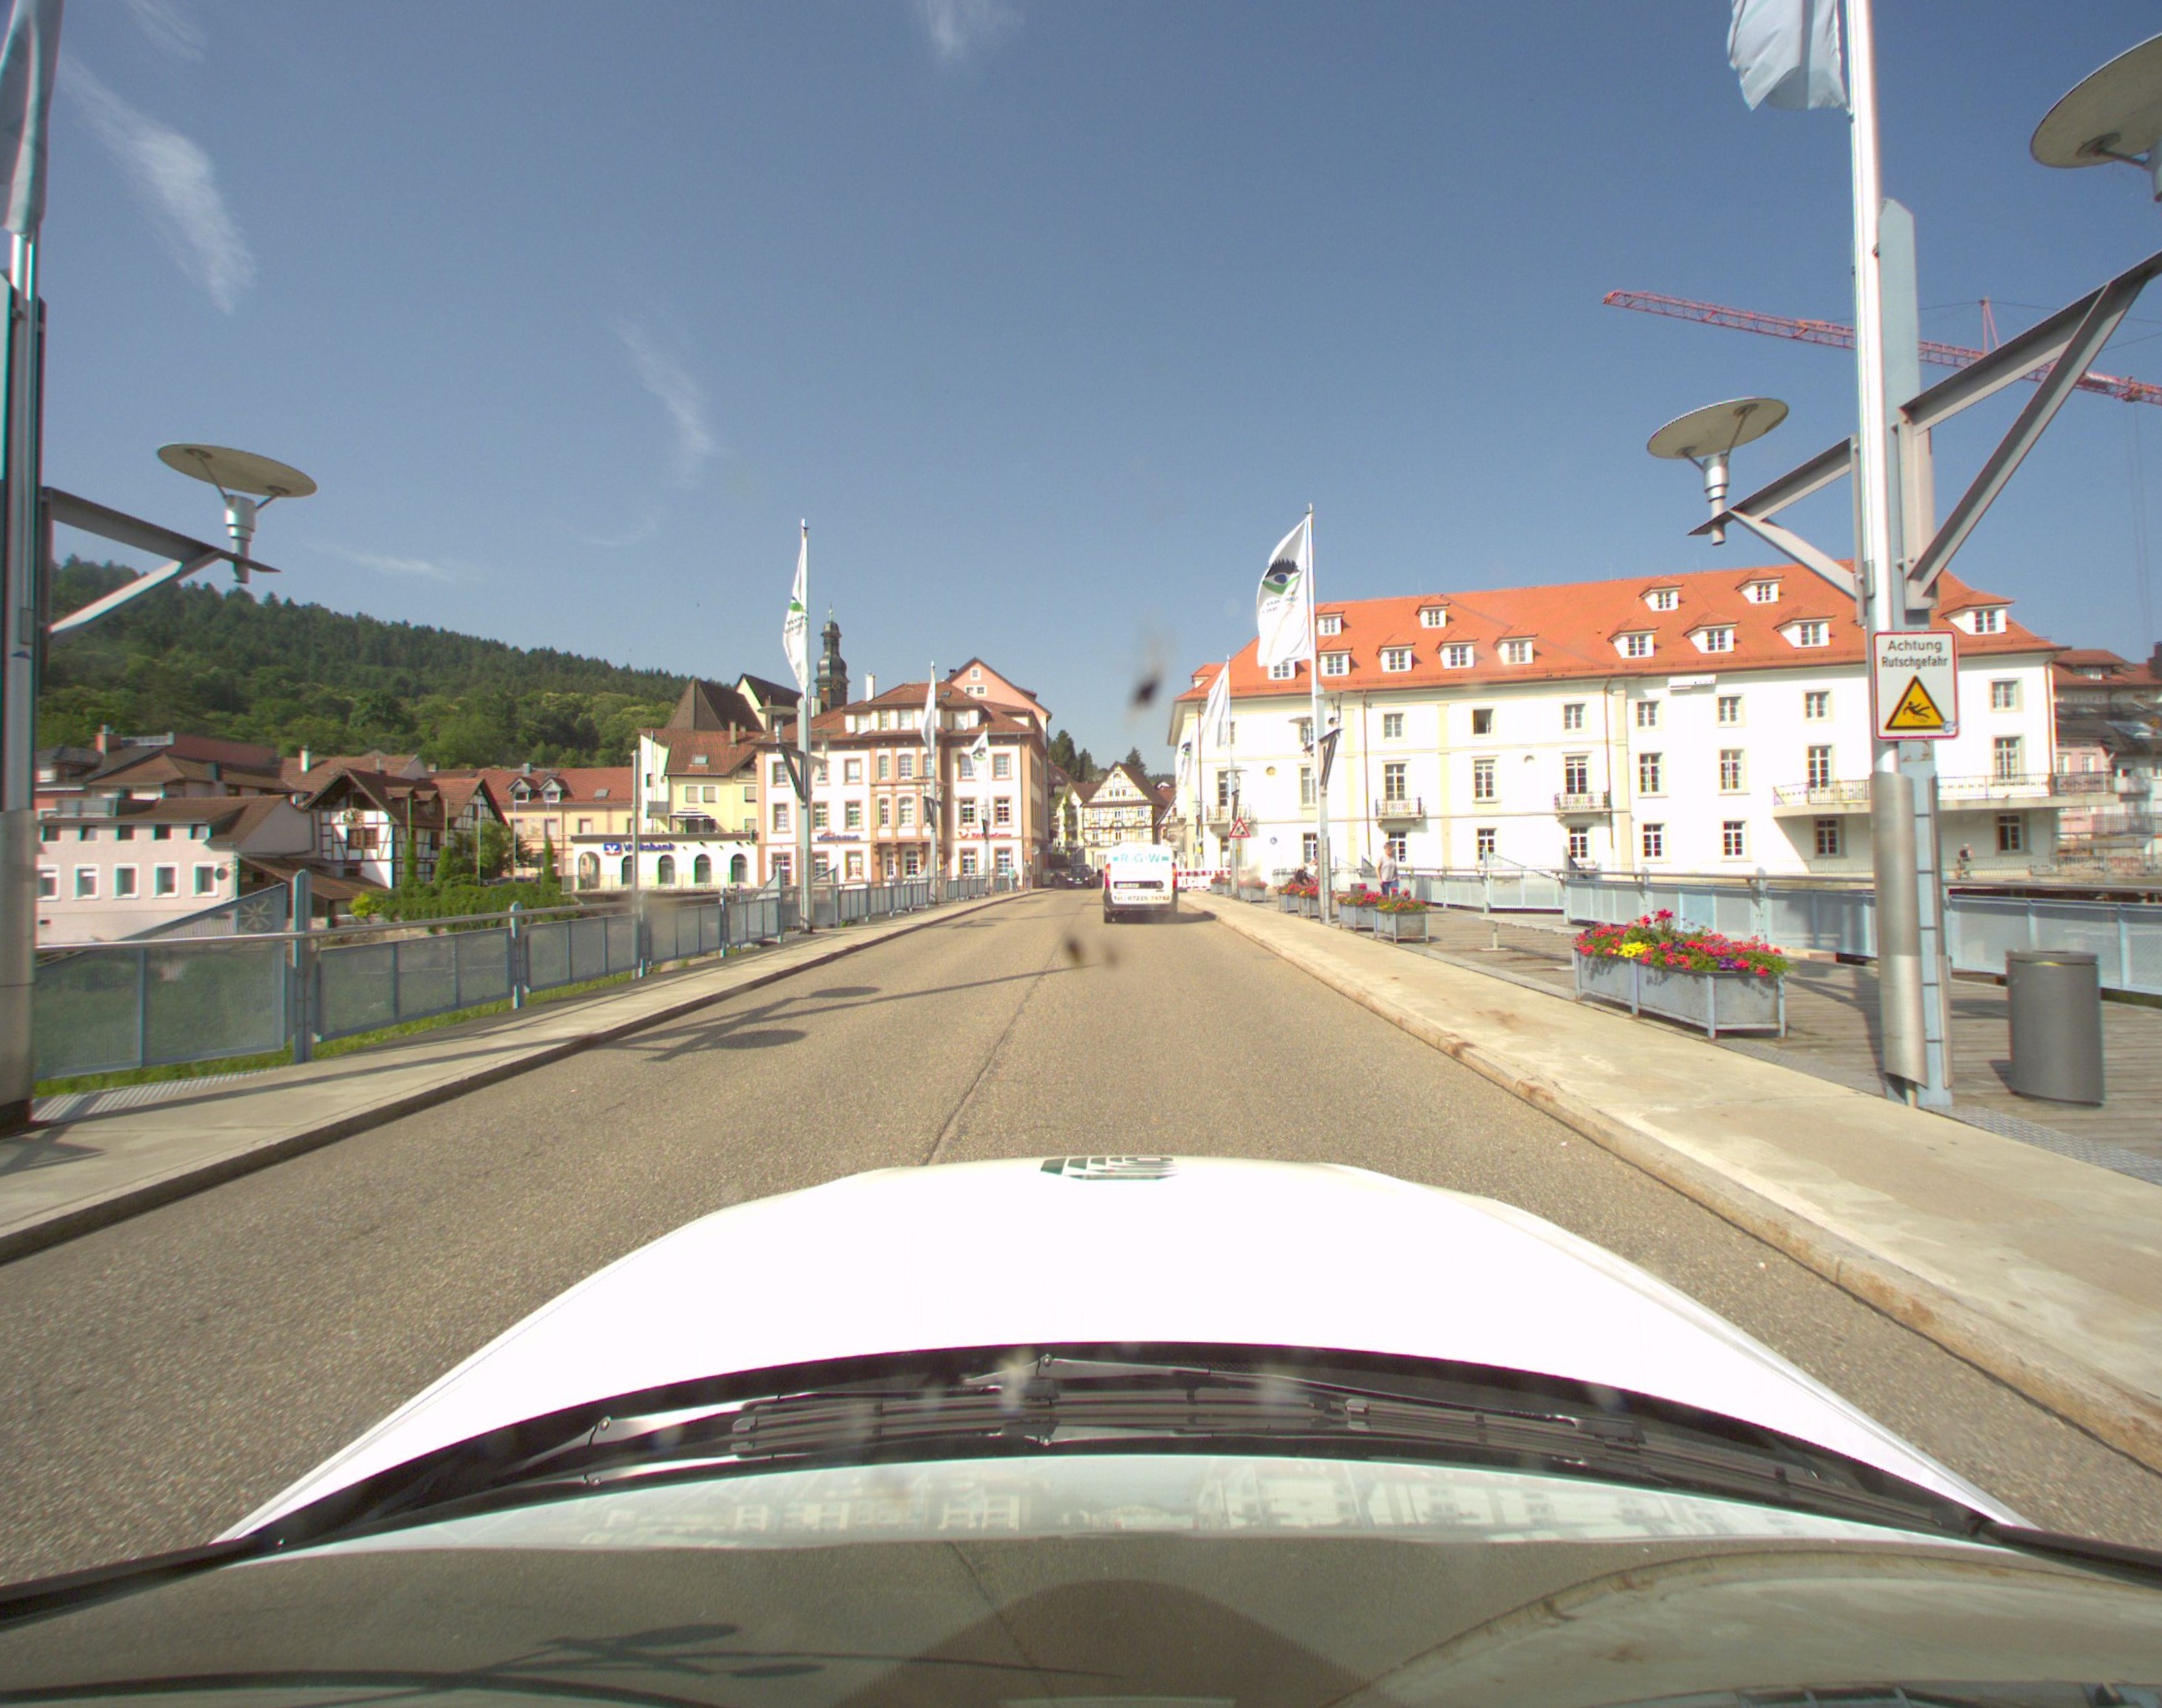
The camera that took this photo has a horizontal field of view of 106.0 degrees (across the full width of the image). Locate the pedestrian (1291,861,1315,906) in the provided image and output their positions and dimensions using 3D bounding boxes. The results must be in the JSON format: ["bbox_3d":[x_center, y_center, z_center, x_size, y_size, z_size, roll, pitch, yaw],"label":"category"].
[{"bbox_3d":[6.208,0.820,22.776,0.450,1.244,0.625,-2,-2,-3],"label":"pedestrian"}]

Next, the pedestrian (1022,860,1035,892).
[{"bbox_3d":[-2.916,1.195,45.229,0.612,1.762,0.864,0,0,1],"label":"pedestrian"}]

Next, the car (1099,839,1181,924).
[{"bbox_3d":[1.397,0.662,20.735,1.838,1.906,4.315,-1,-1,1],"label":"car"}]

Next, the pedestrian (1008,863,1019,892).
[{"bbox_3d":[-3.758,1.299,45.418,0.581,1.610,0.537,0,-1,1],"label":"pedestrian"}]

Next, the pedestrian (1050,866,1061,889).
[{"bbox_3d":[-2.050,1.883,65.045,0.800,1.857,0.616,-1,0,1],"label":"pedestrian"}]

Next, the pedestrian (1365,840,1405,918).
[{"bbox_3d":[6.504,0.530,17.436,0.662,1.618,0.564,-1,-1,7],"label":"pedestrian"}]

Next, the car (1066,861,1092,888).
[{"bbox_3d":[-0.094,1.386,57.726,1.770,1.792,4.697,0,0,1],"label":"car"}]

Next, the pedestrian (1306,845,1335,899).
[{"bbox_3d":[7.782,0.573,26.478,0.723,1.723,0.748,-1,-1,3],"label":"pedestrian"}]

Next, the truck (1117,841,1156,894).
[{"bbox_3d":[2.788,0.699,41.751,1.854,2.585,4.261,-1,-1,2],"label":"truck"}]
